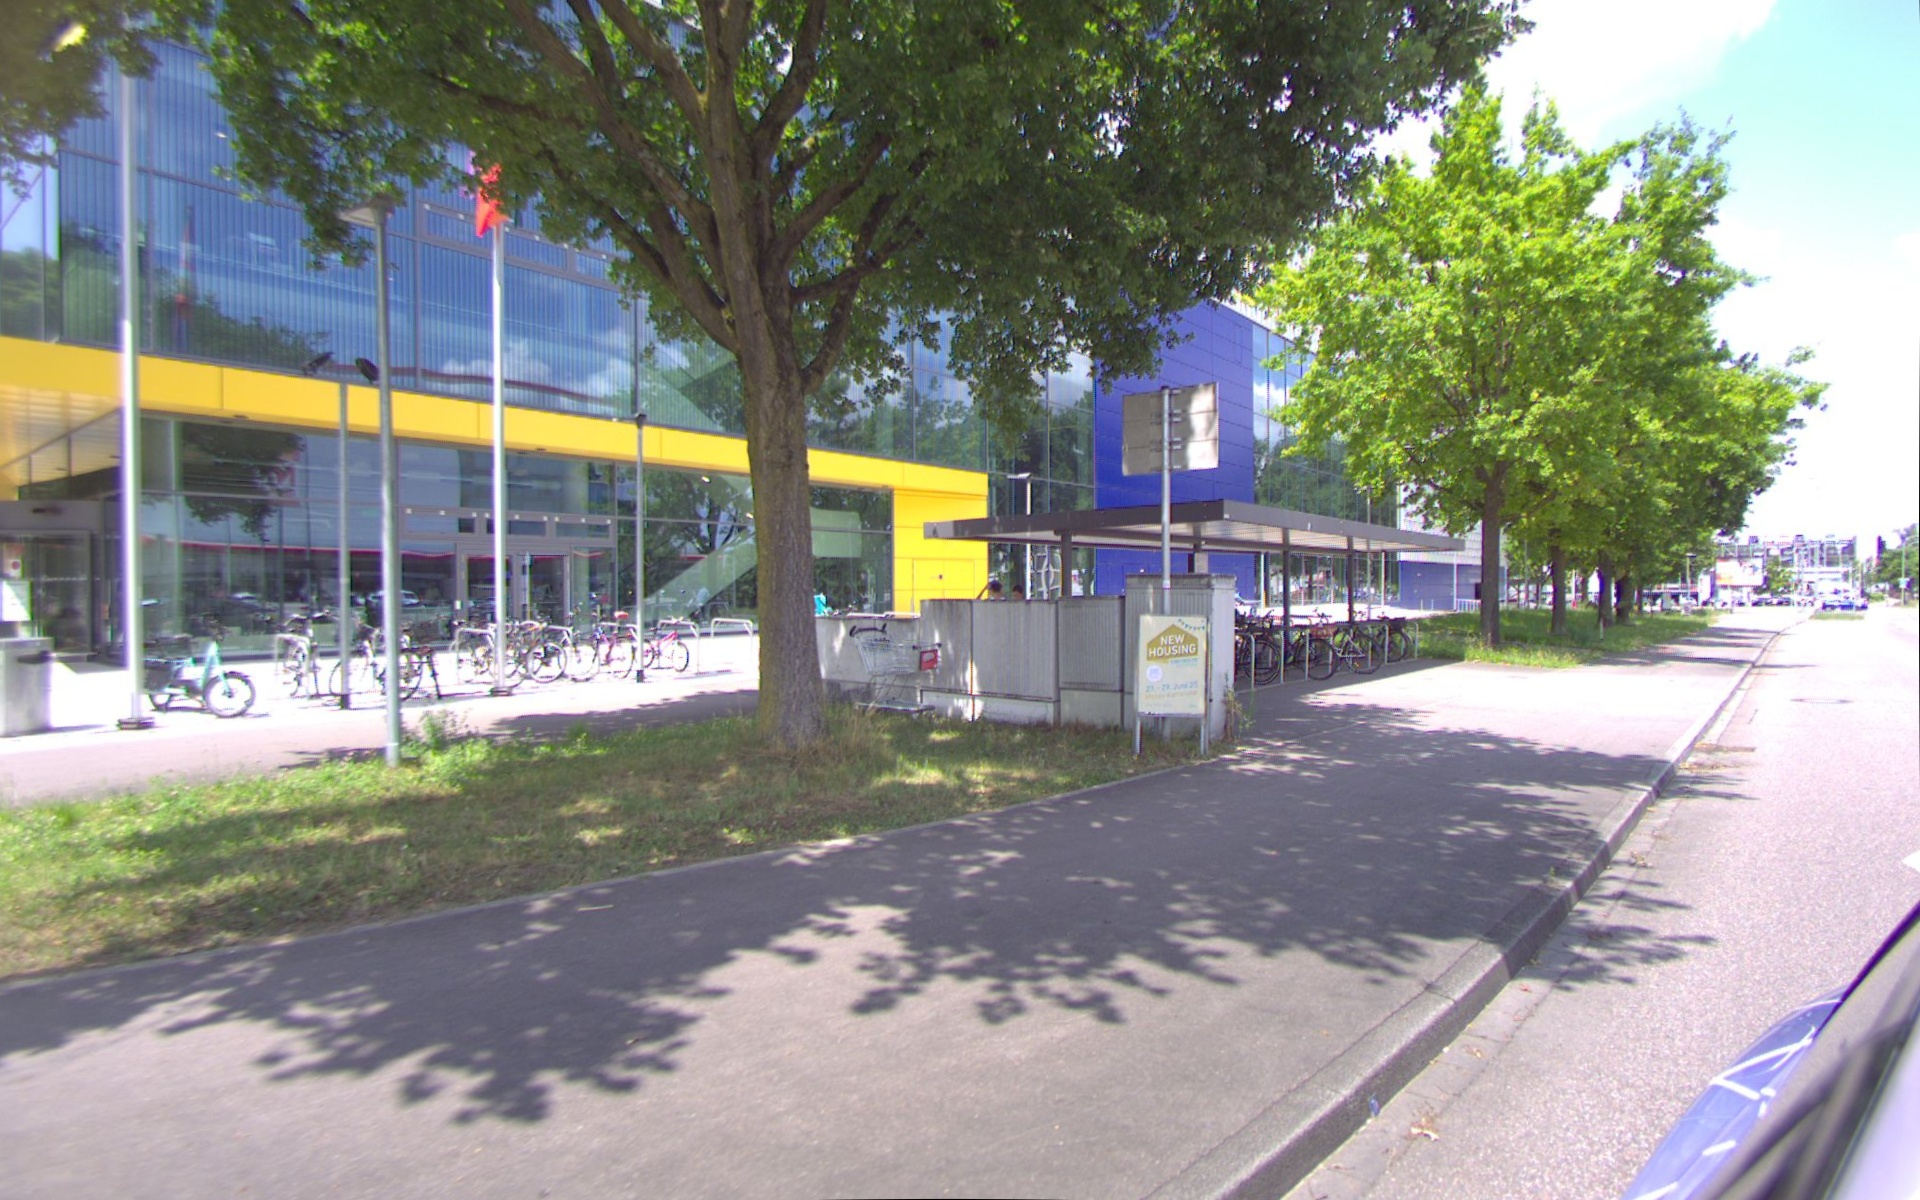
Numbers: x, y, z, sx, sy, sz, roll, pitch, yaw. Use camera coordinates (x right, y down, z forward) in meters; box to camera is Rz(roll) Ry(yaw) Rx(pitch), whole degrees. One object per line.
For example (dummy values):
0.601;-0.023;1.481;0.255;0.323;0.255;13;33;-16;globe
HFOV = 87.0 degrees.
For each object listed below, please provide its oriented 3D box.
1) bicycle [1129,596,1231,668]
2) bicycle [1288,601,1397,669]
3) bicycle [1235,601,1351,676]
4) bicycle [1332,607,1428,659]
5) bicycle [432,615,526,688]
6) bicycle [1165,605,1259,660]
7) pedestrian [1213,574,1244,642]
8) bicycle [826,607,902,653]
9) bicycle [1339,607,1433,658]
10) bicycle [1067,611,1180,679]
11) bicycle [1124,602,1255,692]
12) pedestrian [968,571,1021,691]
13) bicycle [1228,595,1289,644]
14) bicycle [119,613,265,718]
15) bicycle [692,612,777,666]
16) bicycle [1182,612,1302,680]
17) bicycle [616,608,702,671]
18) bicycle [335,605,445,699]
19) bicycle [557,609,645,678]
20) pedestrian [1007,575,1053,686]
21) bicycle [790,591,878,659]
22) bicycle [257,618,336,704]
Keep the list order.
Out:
4.080;0.567;18.864;1.857;1.247;0.418;1;1;37;bicycle
7.194;0.639;19.107;1.895;1.184;0.417;2;1;43;bicycle
5.729;0.643;17.473;1.857;1.202;0.418;1;1;37;bicycle
9.096;0.695;21.946;1.857;1.007;0.418;3;1;37;bicycle
-7.194;0.737;15.098;1.857;1.007;0.458;0;0;37;bicycle
5.134;0.642;20.696;1.857;1.007;0.418;2;2;37;bicycle
6.939;0.198;26.165;0.622;1.743;0.525;0;1;-11;pedestrian
-2.041;0.613;21.390;1.860;0.893;0.463;1;1;42;bicycle
9.381;0.702;22.337;1.857;1.007;0.418;3;1;37;bicycle
2.688;0.722;16.760;1.857;1.007;0.418;1;1;37;bicycle
3.339;0.653;14.834;1.857;1.202;0.418;1;1;37;bicycle
0.493;0.432;14.567;0.536;1.683;0.545;0;0;-38;pedestrian
7.429;0.465;25.309;0.565;1.121;2.019;1;2;-11;bicycle
-9.113;0.746;11.996;1.904;1.121;0.500;1;2;23;bicycle
-4.158;0.694;18.571;1.857;0.893;0.418;2;1;37;bicycle
4.594;0.733;16.559;1.857;1.007;0.418;1;1;37;bicycle
-5.294;0.673;17.742;1.857;1.007;0.418;1;1;37;bicycle
-7.742;0.678;13.733;1.665;1.172;0.457;1;0;27;bicycle
-5.977;0.697;16.798;1.857;1.007;0.418;2;2;37;bicycle
1.090;0.462;15.782;0.543;1.683;0.471;0;0;39;pedestrian
-2.558;0.466;20.317;0.708;1.245;2.145;0;1;-39;bicycle
-8.680;0.762;13.206;1.861;1.007;0.417;1;0;43;bicycle
